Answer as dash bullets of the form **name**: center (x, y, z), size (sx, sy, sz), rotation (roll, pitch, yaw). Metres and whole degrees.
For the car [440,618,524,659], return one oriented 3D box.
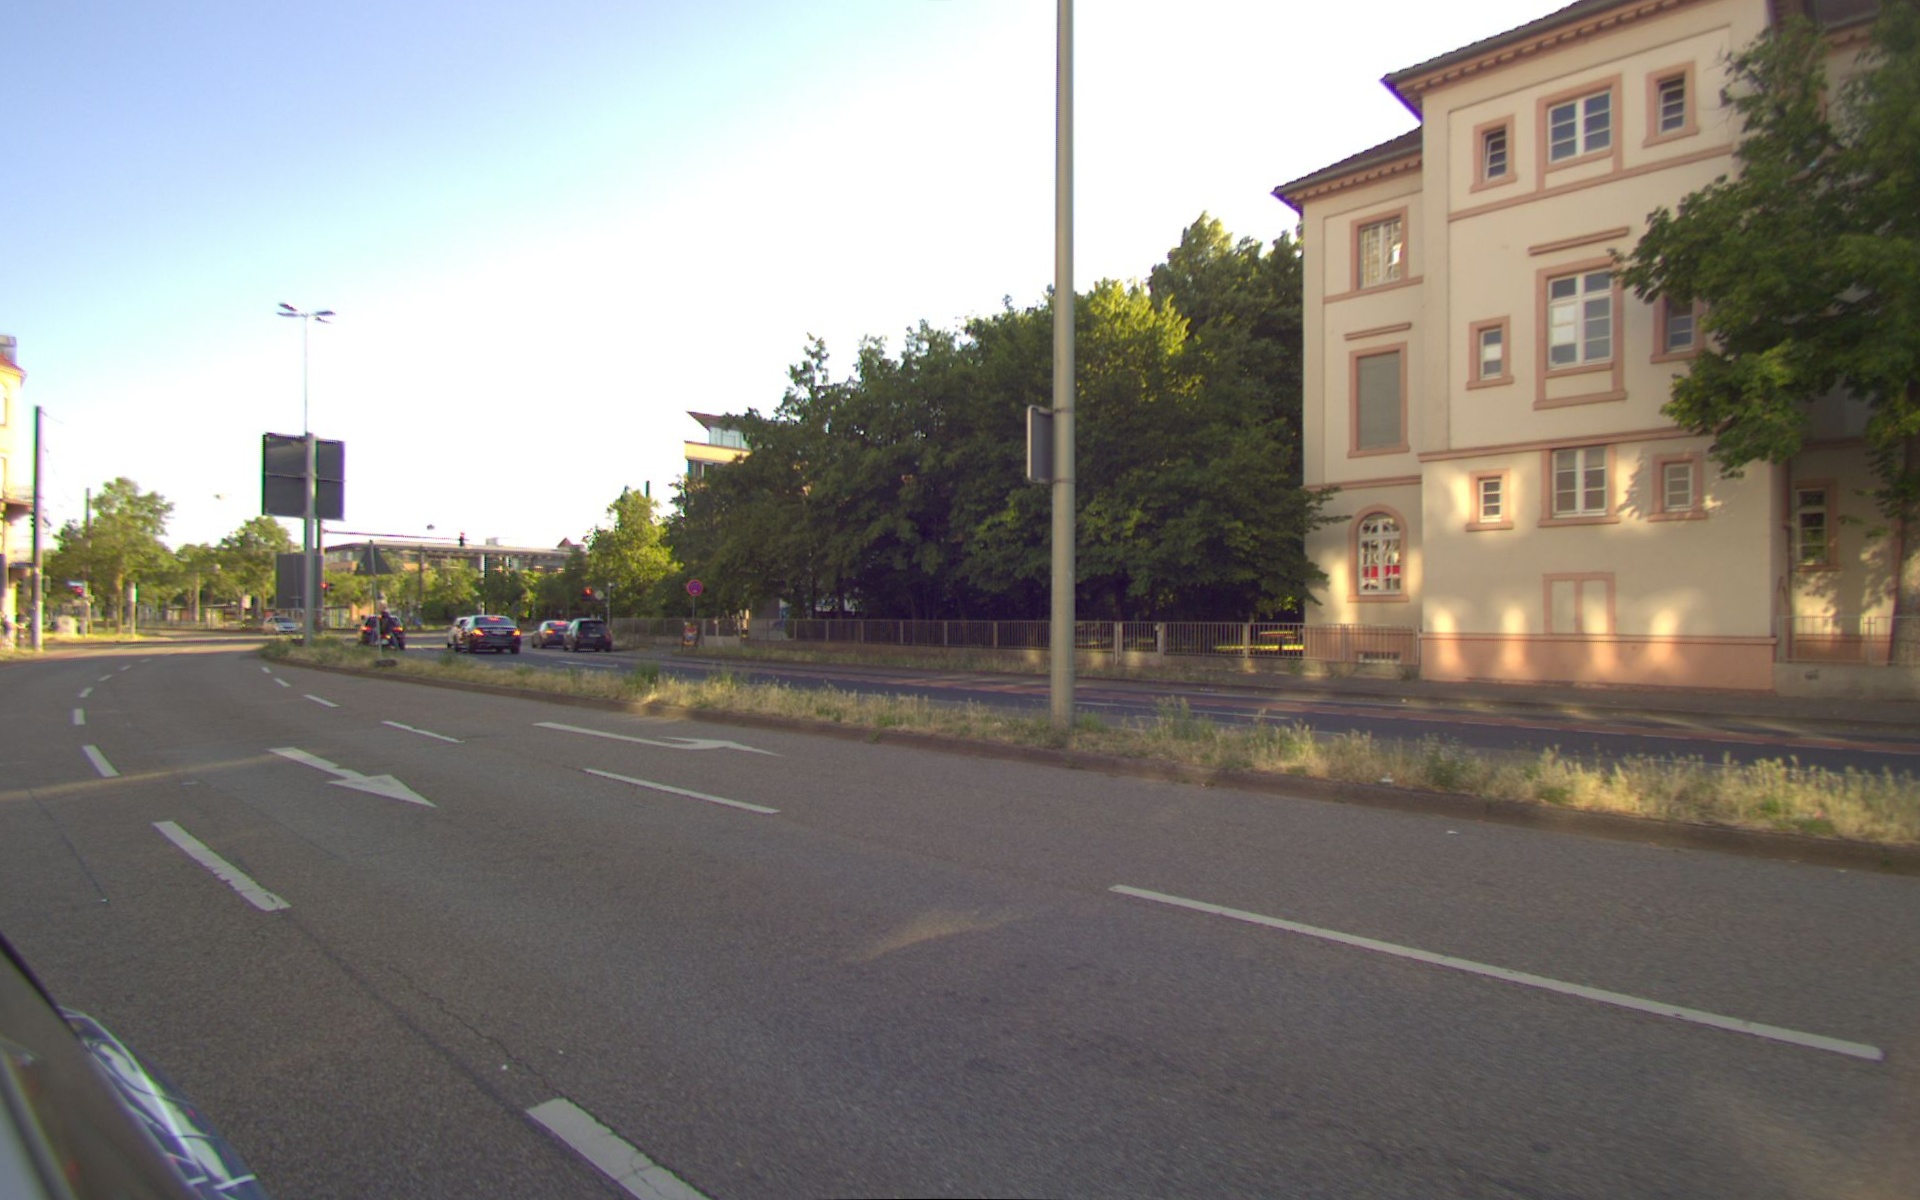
- **car**: center (-19.223, 1.501, 40.558), size (1.967, 1.507, 5.303), rotation (1, -2, -37)

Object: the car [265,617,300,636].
- **car**: center (-56.482, 2.211, 84.354), size (1.968, 1.586, 4.007), rotation (1, -2, -39)

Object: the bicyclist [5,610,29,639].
- **bicyclist**: center (-61.879, 1.593, 66.415), size (1.055, 1.856, 1.305), rotation (1, -2, -41)

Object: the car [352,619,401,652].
- **car**: center (-24.626, 1.458, 42.650), size (1.695, 1.306, 4.389), rotation (1, -2, -31)

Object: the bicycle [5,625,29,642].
- **bicycle**: center (-61.884, 2.189, 66.415), size (1.055, 1.032, 2.979), rotation (1, -2, -41)

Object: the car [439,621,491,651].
- **car**: center (-23.181, 1.657, 47.322), size (1.695, 1.329, 3.905), rotation (1, -2, -33)

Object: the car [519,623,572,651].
- **car**: center (-20.611, 1.815, 50.226), size (1.695, 1.306, 3.905), rotation (1, -2, -33)

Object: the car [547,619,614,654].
- **car**: center (-17.047, 1.592, 45.346), size (1.829, 1.475, 4.009), rotation (0, -1, -36)

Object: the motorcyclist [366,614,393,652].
- **motorcyclist**: center (-22.194, 1.245, 38.671), size (0.840, 1.409, 1.064), rotation (1, -2, -31)

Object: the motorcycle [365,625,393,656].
- **motorcycle**: center (-22.283, 1.530, 38.812), size (0.847, 1.116, 2.477), rotation (1, -2, -31)

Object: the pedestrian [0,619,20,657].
- **pedestrian**: center (-40.798, 1.633, 43.415), size (0.481, 1.644, 0.527), rotation (0, -2, -13)

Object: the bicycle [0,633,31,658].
- **bicycle**: center (-40.721, 1.953, 43.478), size (0.393, 1.037, 1.676), rotation (0, -1, -13)
